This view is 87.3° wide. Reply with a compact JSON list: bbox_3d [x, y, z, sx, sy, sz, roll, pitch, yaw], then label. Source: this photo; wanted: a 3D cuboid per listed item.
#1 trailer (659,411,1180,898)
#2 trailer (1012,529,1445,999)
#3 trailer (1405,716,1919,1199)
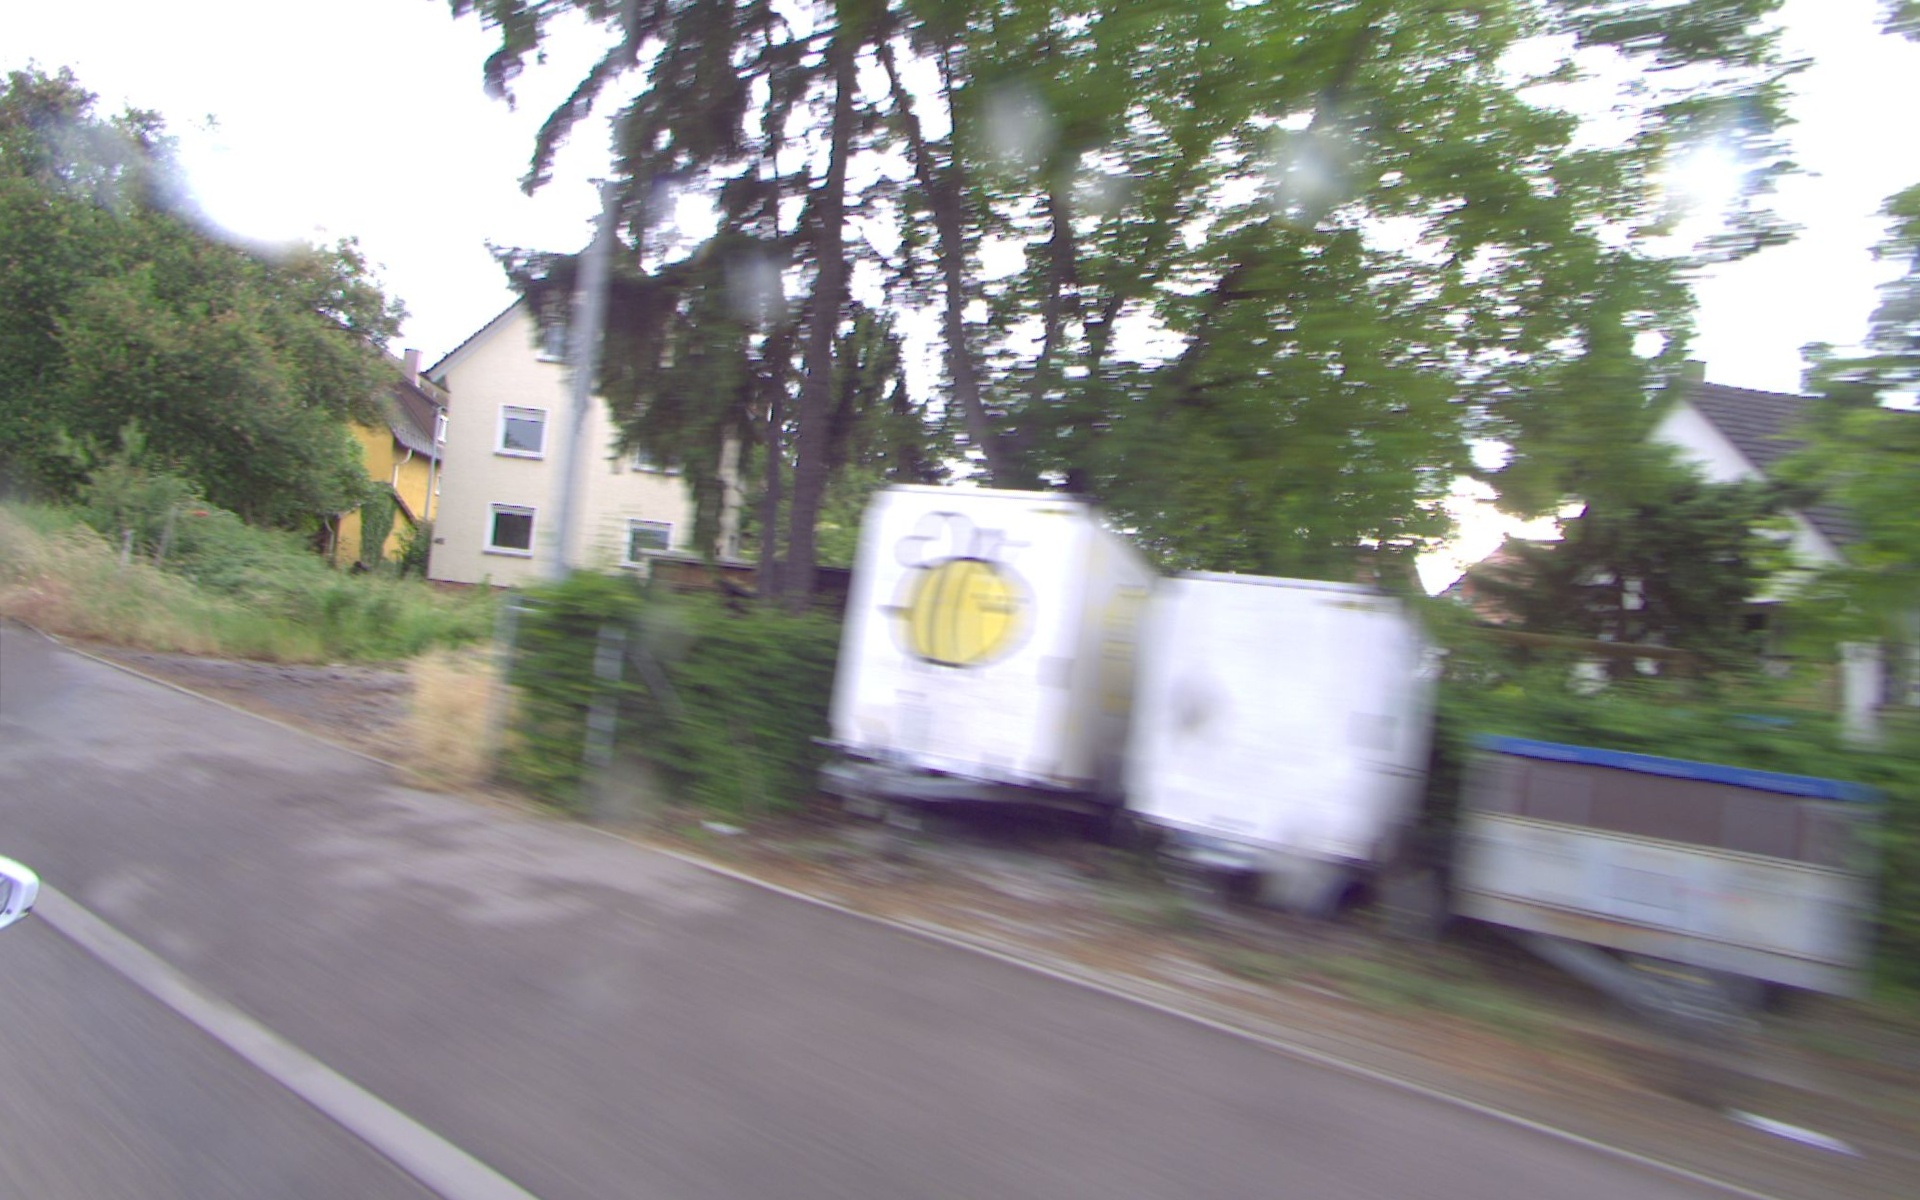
[{"bbox_3d":[0.147,0.446,7.587,1.914,2.426,4.554,7,-3,23],"label":"trailer"},{"bbox_3d":[2.079,0.962,6.713,1.658,2.043,3.965,7,-4,30],"label":"trailer"},{"bbox_3d":[3.539,1.418,5.428,1.545,1.302,4.409,8,-2,30],"label":"trailer"}]
